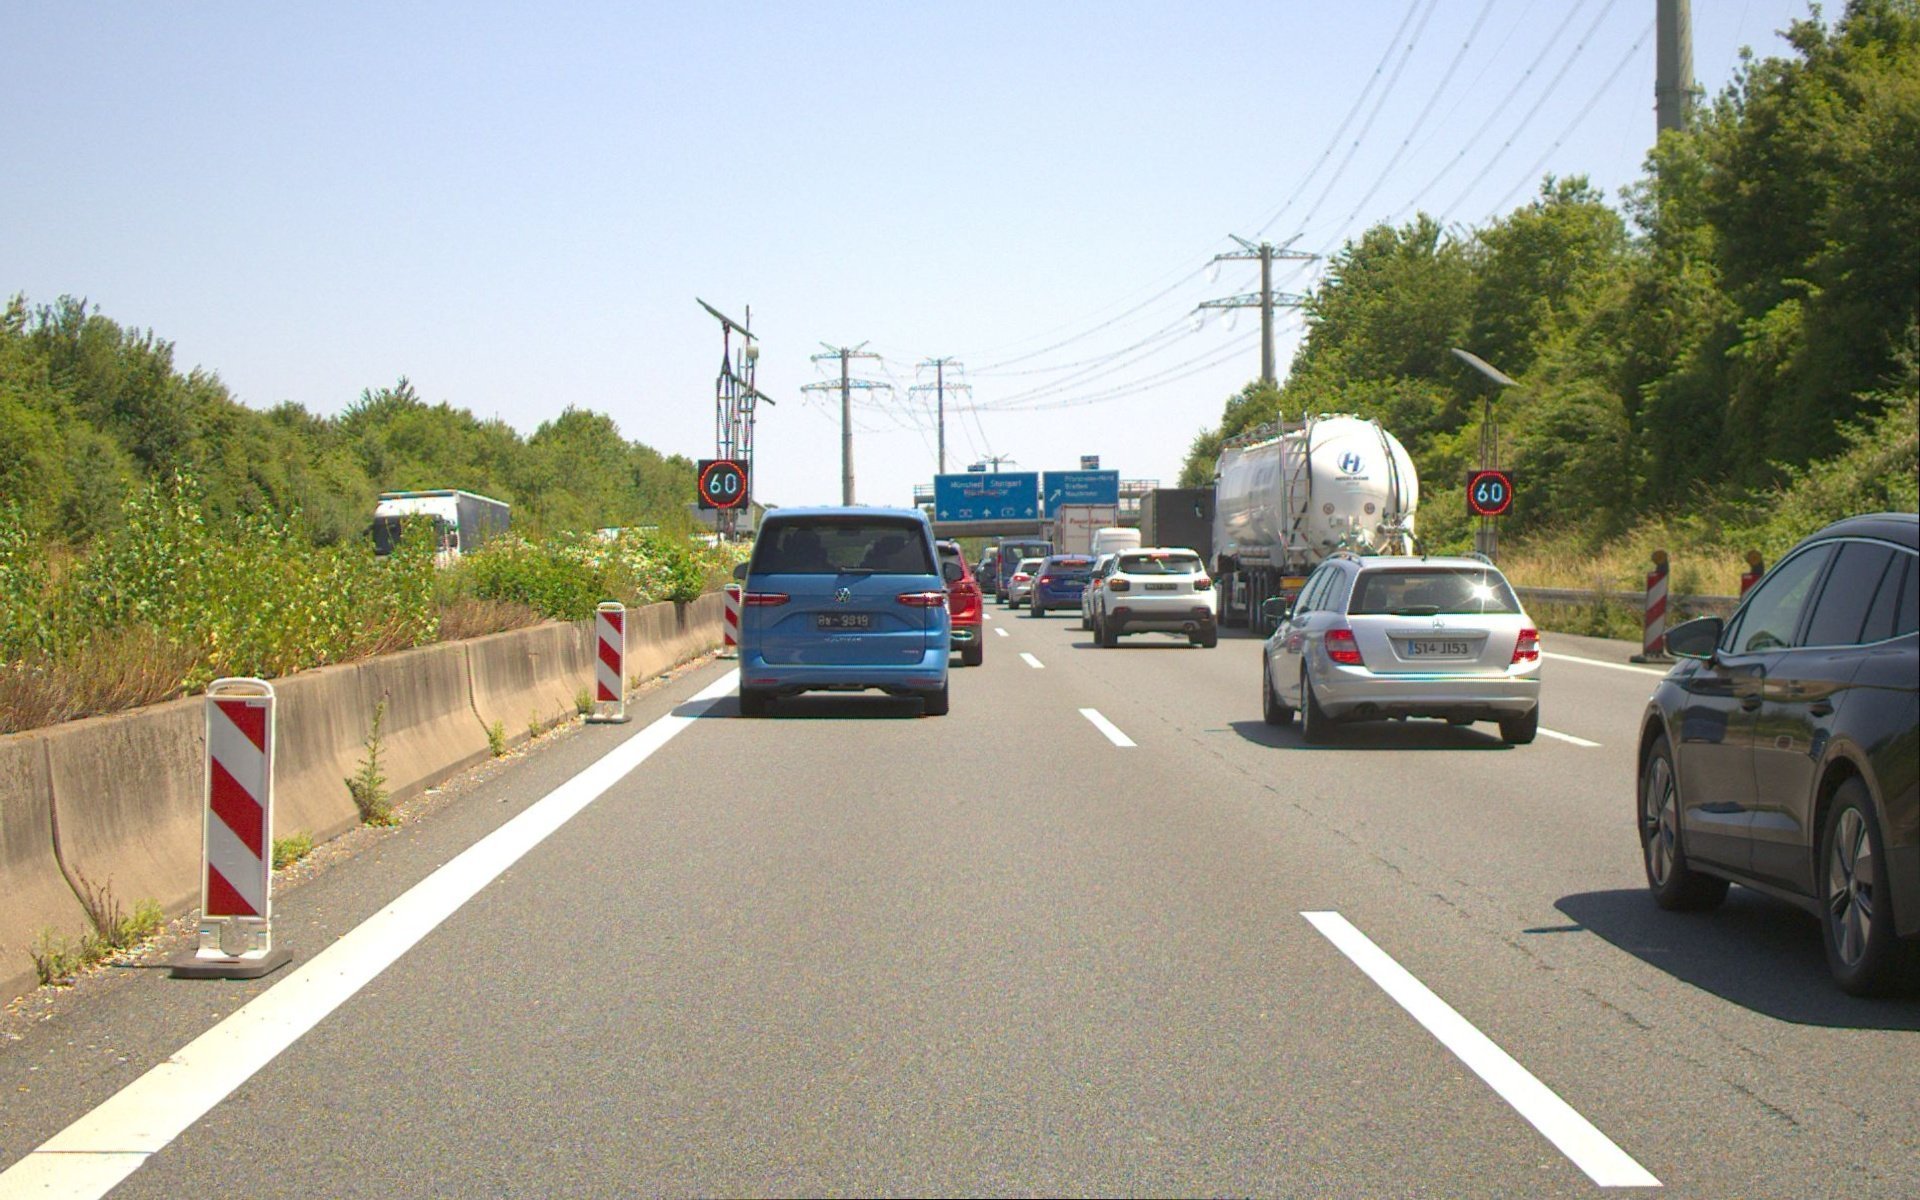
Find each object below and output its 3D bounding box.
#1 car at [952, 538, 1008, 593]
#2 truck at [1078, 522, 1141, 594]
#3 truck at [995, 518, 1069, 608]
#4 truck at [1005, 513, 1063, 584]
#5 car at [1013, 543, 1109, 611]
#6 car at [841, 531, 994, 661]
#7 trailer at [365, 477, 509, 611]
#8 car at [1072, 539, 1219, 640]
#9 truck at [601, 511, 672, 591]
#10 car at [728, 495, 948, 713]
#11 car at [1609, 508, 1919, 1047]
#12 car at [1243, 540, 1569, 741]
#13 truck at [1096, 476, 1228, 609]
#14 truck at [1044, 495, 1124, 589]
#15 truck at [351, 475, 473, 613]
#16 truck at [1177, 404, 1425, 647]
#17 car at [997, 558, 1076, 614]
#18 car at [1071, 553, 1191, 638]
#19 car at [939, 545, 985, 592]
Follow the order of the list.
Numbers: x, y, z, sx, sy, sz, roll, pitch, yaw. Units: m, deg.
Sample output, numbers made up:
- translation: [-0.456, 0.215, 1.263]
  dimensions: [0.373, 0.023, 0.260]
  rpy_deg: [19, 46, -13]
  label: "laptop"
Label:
- translation: [0.749, -1.320, 131.190]
  dimensions: [1.993, 2.007, 4.000]
  rpy_deg: [1, 1, -2]
  label: "car"
- translation: [5.782, -1.618, 133.747]
  dimensions: [1.993, 2.714, 5.680]
  rpy_deg: [1, 1, -2]
  label: "truck"
- translation: [2.244, -1.169, 108.284]
  dimensions: [1.993, 2.714, 5.680]
  rpy_deg: [1, 1, -2]
  label: "truck"
- translation: [4.625, -3.240, 217.478]
  dimensions: [2.938, 4.276, 12.553]
  rpy_deg: [1, 1, -2]
  label: "truck"
- translation: [2.354, -0.555, 81.152]
  dimensions: [1.908, 1.511, 4.384]
  rpy_deg: [1, 1, -2]
  label: "car"
- translation: [-0.596, -0.072, 45.318]
  dimensions: [1.908, 1.625, 4.384]
  rpy_deg: [0, 1, -2]
  label: "car"
- translation: [-17.734, -1.876, 117.540]
  dimensions: [2.753, 4.152, 14.198]
  rpy_deg: [-3, 1, -1]
  label: "trailer"
- translation: [2.881, -0.176, 54.135]
  dimensions: [1.908, 1.503, 3.922]
  rpy_deg: [1, 1, -2]
  label: "car"
- translation: [-16.592, -2.515, 176.669]
  dimensions: [2.762, 3.875, 9.030]
  rpy_deg: [-3, 1, -1]
  label: "truck"
- translation: [-1.208, 0.012, 32.108]
  dimensions: [1.870, 1.873, 4.384]
  rpy_deg: [1, 1, -4]
  label: "car"
- translation: [3.734, 0.501, 12.414]
  dimensions: [1.828, 1.609, 4.431]
  rpy_deg: [0, 1, -1]
  label: "car"
- translation: [3.433, 0.271, 27.262]
  dimensions: [1.821, 1.432, 4.384]
  rpy_deg: [1, 1, -2]
  label: "car"
- translation: [5.696, -1.622, 98.870]
  dimensions: [2.644, 3.526, 12.553]
  rpy_deg: [1, 1, -2]
  label: "truck"
- translation: [5.823, -2.730, 163.699]
  dimensions: [2.938, 4.276, 12.553]
  rpy_deg: [1, 1, -2]
  label: "truck"
- translation: [-17.613, -1.799, 110.845]
  dimensions: [2.751, 4.152, 6.411]
  rpy_deg: [-3, 1, -1]
  label: "truck"
- translation: [6.273, -1.350, 66.269]
  dimensions: [2.644, 4.058, 16.442]
  rpy_deg: [1, 1, -2]
  label: "truck"
- translation: [2.111, -0.410, 95.901]
  dimensions: [1.908, 1.511, 4.384]
  rpy_deg: [1, 1, -2]
  label: "car"
- translation: [3.284, -0.114, 66.884]
  dimensions: [1.908, 1.564, 4.384]
  rpy_deg: [1, 1, -2]
  label: "car"
- translation: [0.098, -1.415, 153.829]
  dimensions: [1.993, 2.007, 4.000]
  rpy_deg: [1, 1, 0]
  label: "car"
